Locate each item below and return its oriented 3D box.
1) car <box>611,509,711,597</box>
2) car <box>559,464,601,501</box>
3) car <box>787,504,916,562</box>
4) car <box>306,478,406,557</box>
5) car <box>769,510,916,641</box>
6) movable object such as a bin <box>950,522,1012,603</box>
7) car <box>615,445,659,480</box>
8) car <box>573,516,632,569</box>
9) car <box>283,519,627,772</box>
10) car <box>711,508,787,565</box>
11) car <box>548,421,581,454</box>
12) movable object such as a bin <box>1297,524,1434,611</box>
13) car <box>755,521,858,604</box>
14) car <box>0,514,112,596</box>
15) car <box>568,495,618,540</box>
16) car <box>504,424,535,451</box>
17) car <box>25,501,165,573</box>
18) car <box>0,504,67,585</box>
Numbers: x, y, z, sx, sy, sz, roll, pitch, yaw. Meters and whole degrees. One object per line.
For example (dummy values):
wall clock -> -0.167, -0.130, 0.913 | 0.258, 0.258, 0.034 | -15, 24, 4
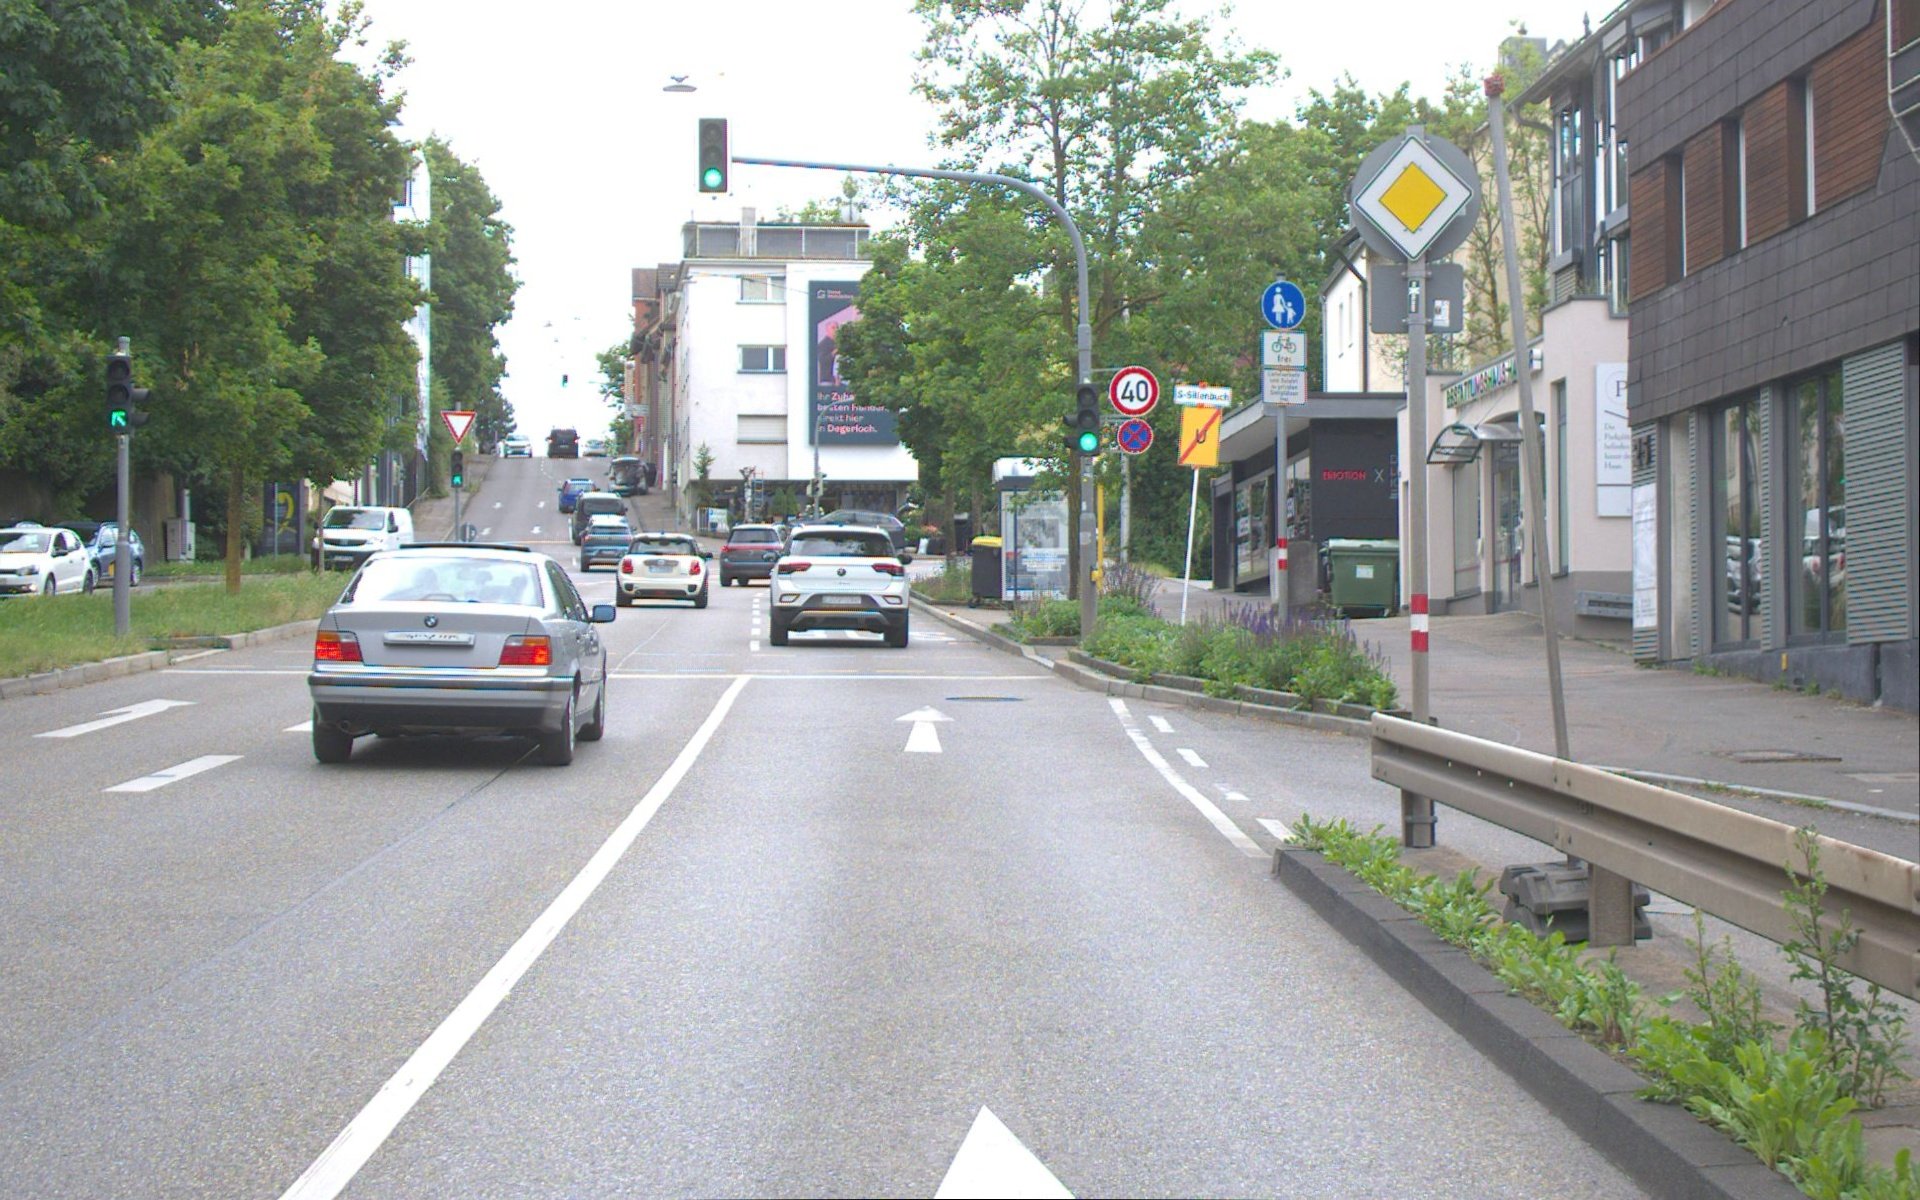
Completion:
car -> -5.795, -0.931, 66.364 | 1.779, 1.573, 4.001 | 1, 2, -6
car -> -16.665, -5.147, 150.674 | 1.779, 1.573, 4.001 | 1, 2, -6
car -> -4.197, -2.588, 132.160 | 4.687, 1.706, 2.319 | 5, 4, -6
car -> -15.613, -2.154, 89.040 | 1.938, 1.951, 5.023 | 1, 2, -3
car -> -1.579, -0.359, 44.975 | 1.779, 1.573, 4.001 | 1, 2, -4
movable object such as a bin -> 0.396, -0.718, 64.577 | 1.085, 1.476, 1.537 | 1, 1, -2
car -> -15.644, -6.664, 166.539 | 2.089, 1.607, 4.001 | 1, 1, -5
car -> -11.240, -1.818, 107.871 | 1.779, 1.573, 4.001 | 1, 2, -6
car -> -3.251, 0.230, 22.803 | 1.706, 1.459, 4.001 | 1, 2, -1
car -> -5.563, -1.695, 90.922 | 1.780, 1.431, 4.000 | 1, 2, -1
car -> -25.100, -10.285, 218.014 | 1.993, 2.006, 4.001 | 1, 2, -7
movable object such as a bin -> 7.163, -0.602, 61.108 | 1.888, 1.447, 4.000 | 1, 1, -1
car -> -2.853, -0.715, 63.143 | 1.779, 1.405, 4.001 | 1, 2, -4
car -> -17.229, -0.858, 63.343 | 1.729, 1.423, 3.789 | 2, 2, 10
car -> -13.713, -3.092, 128.408 | 1.779, 1.573, 4.001 | 1, 2, -6
car -> -28.094, -10.359, 219.264 | 1.882, 1.562, 4.391 | 0, 4, -7
car -> -19.498, -1.444, 77.693 | 1.712, 1.523, 4.301 | 2, 2, 5
car -> -20.171, -1.166, 71.147 | 1.780, 1.623, 4.169 | 2, 2, 8
